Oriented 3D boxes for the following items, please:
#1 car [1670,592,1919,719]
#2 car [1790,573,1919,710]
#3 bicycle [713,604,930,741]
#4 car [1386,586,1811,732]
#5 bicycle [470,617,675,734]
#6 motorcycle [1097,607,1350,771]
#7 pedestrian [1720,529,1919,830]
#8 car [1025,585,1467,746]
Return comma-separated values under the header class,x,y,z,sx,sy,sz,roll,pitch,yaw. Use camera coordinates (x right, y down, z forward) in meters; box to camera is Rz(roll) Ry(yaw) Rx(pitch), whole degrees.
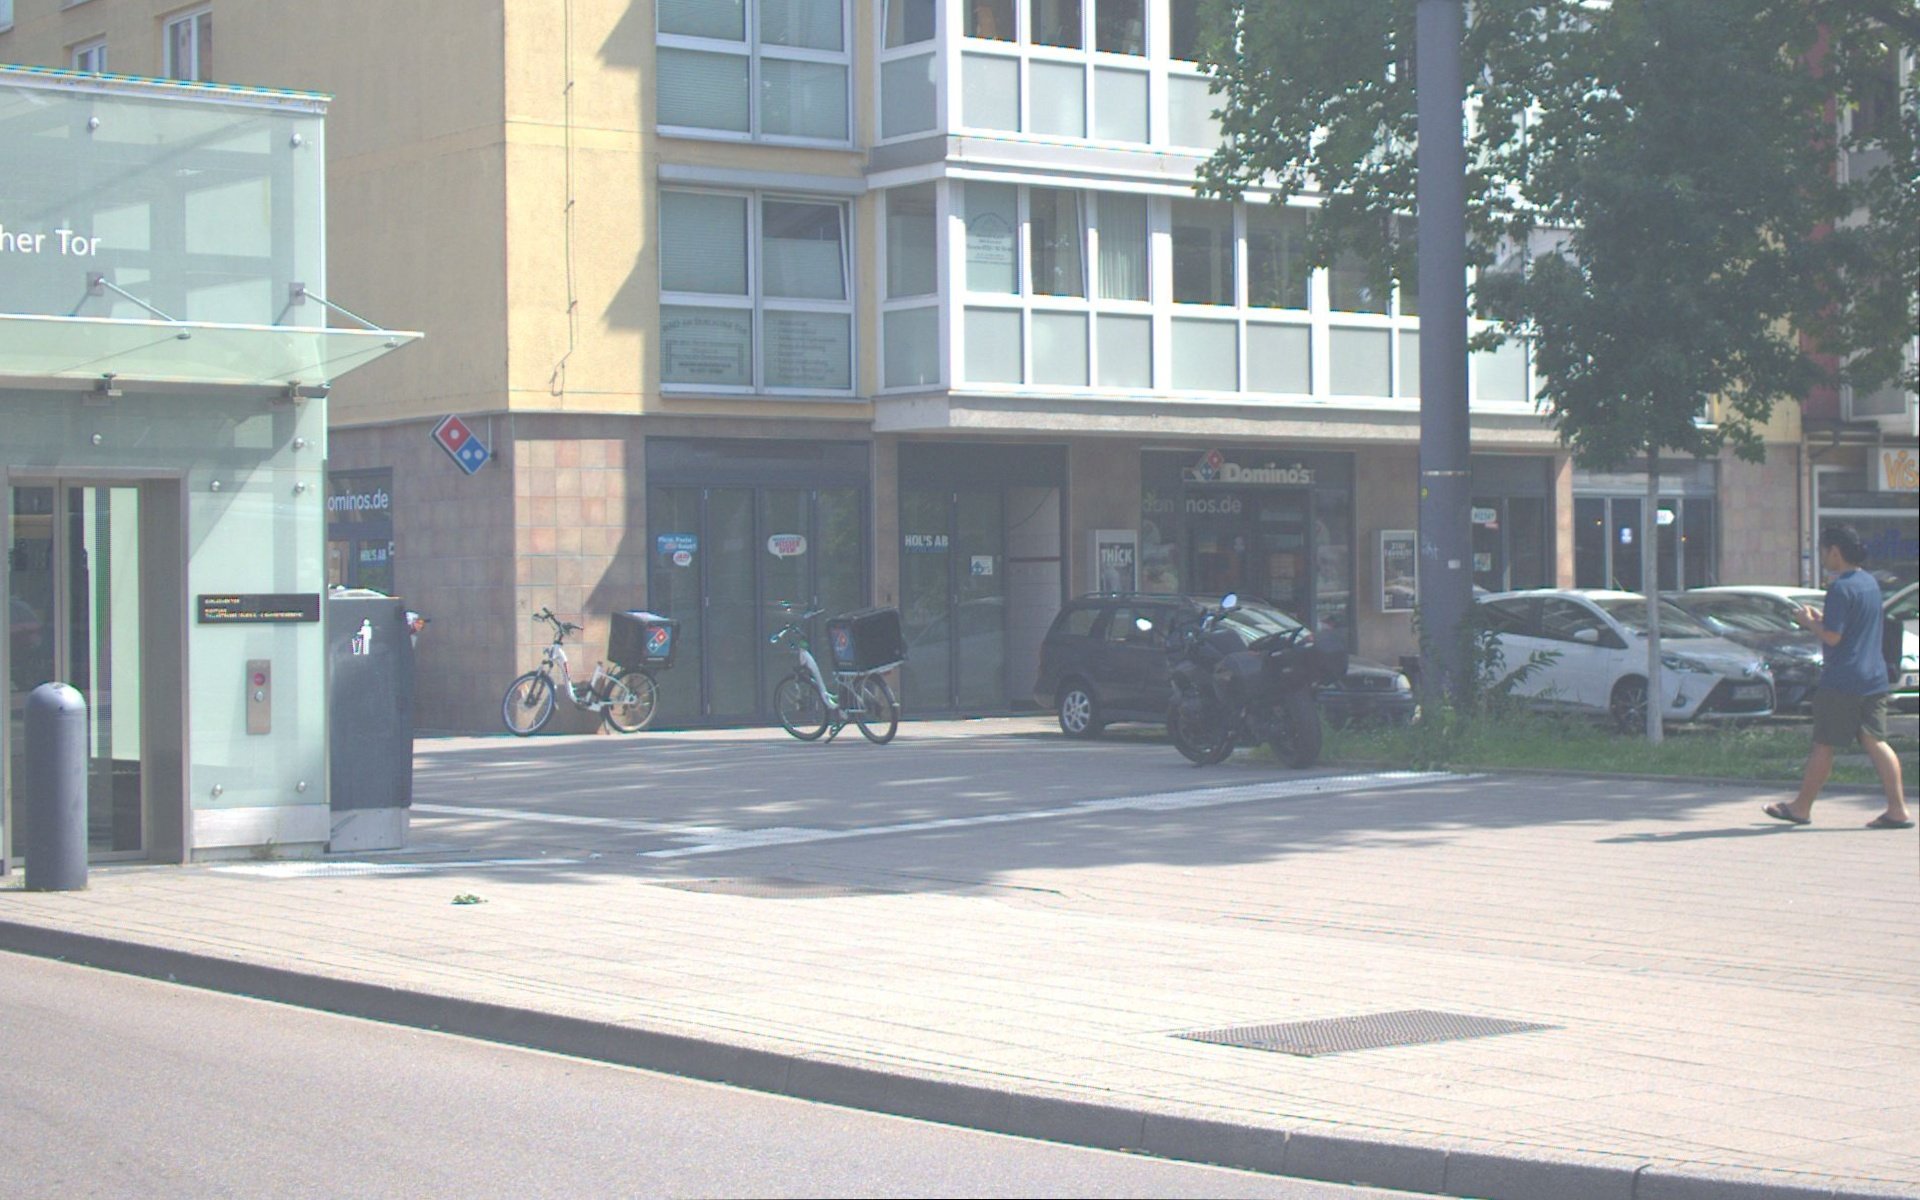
class,x,y,z,sx,sy,sz,roll,pitch,yaw
car,10.071,0.631,40.593,1.399,1.424,3.097,-1,0,-40
car,12.343,0.491,41.889,1.785,1.660,4.072,-1,0,-40
bicycle,-1.332,0.667,32.538,0.792,1.234,2.434,0,0,-37
car,6.804,0.597,36.972,1.900,1.465,4.245,-1,0,-40
bicycle,-3.924,0.750,34.854,1.963,1.139,0.597,-1,0,-22
motorcycle,1.889,0.624,25.008,0.909,1.133,2.113,0,0,-25
pedestrian,4.839,0.427,18.940,0.791,1.603,0.949,-1,0,-40
car,2.757,0.608,33.925,1.900,1.465,4.245,-1,0,-40
